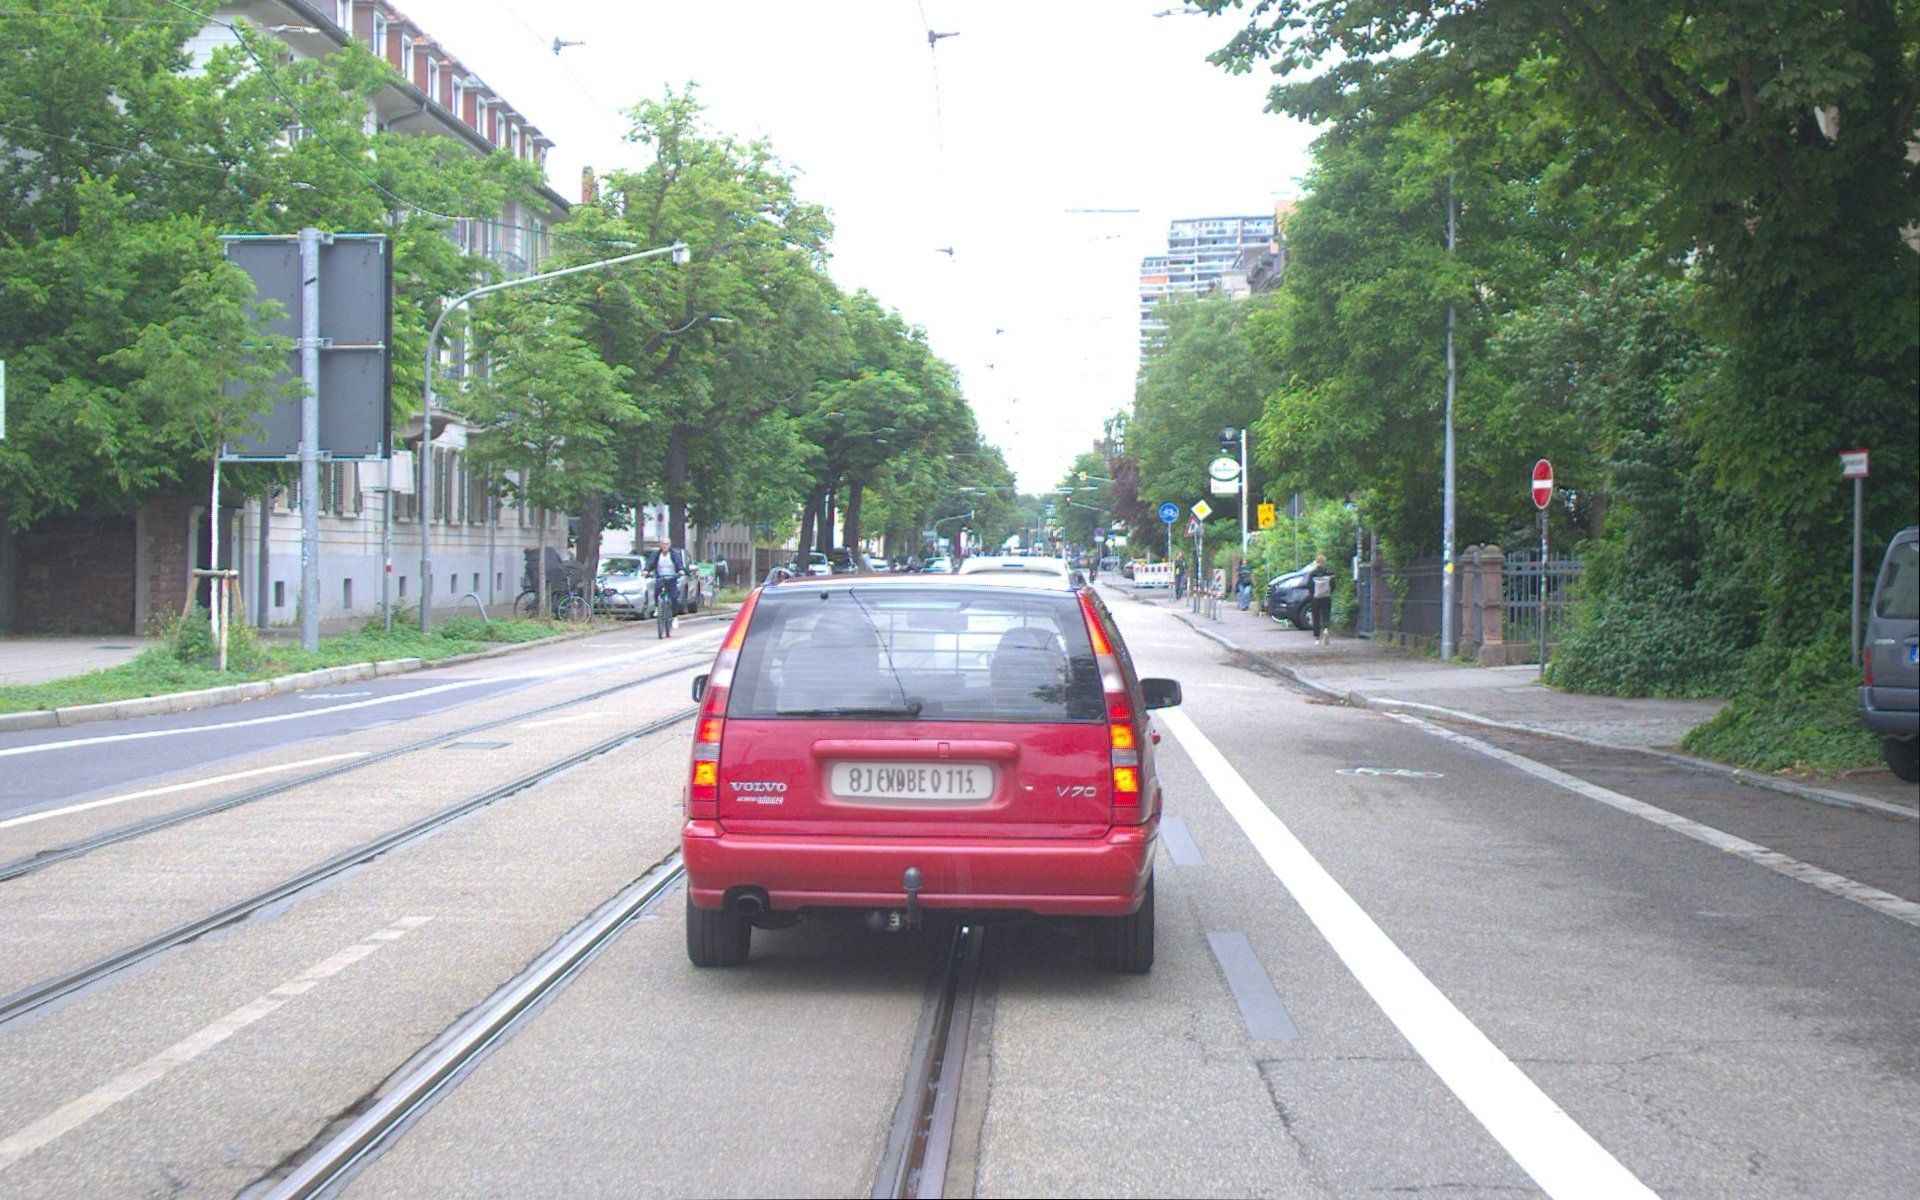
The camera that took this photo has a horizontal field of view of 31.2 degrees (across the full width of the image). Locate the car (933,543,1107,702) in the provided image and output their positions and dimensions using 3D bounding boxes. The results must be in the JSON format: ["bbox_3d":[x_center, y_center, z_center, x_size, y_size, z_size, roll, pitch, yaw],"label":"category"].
[{"bbox_3d":[0.703,0.216,37.602,1.719,1.619,3.940,1,1,3],"label":"car"}]

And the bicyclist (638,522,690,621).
[{"bbox_3d":[-5.393,-0.522,62.649,0.791,1.777,1.147,1,1,2],"label":"bicyclist"}]

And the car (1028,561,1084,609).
[{"bbox_3d":[3.248,-0.526,116.736,1.741,1.600,4.000,1,1,-1],"label":"car"}]

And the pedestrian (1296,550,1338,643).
[{"bbox_3d":[6.536,-0.073,62.916,0.623,1.665,0.960,-2,1,1],"label":"pedestrian"}]

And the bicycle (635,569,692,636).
[{"bbox_3d":[-5.390,0.028,62.540,0.791,1.182,2.010,1,1,2],"label":"bicycle"}]

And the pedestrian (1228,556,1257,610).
[{"bbox_3d":[8.631,-0.524,105.027,0.793,1.630,0.836,1,1,2],"label":"pedestrian"}]

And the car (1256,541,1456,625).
[{"bbox_3d":[8.757,-0.390,76.232,4.281,1.803,1.823,-1,1,3],"label":"car"}]

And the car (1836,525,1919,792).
[{"bbox_3d":[8.235,0.382,24.176,3.827,1.814,1.807,-1,1,-29],"label":"car"}]

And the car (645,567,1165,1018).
[{"bbox_3d":[-0.114,0.609,13.087,1.689,1.436,3.743,1,1,2],"label":"car"}]

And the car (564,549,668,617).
[{"bbox_3d":[-7.769,-0.411,77.901,1.812,1.461,4.614,1,1,1],"label":"car"}]

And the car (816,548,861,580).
[{"bbox_3d":[-5.763,-1.712,163.477,1.777,1.505,4.237,1,1,2],"label":"car"}]

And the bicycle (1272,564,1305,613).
[{"bbox_3d":[7.907,-0.280,82.755,0.632,1.124,1.812,-2,1,1],"label":"bicycle"}]

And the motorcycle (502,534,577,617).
[{"bbox_3d":[-8.501,-0.500,69.563,0.833,1.637,2.479,1,1,9],"label":"motorcycle"}]
